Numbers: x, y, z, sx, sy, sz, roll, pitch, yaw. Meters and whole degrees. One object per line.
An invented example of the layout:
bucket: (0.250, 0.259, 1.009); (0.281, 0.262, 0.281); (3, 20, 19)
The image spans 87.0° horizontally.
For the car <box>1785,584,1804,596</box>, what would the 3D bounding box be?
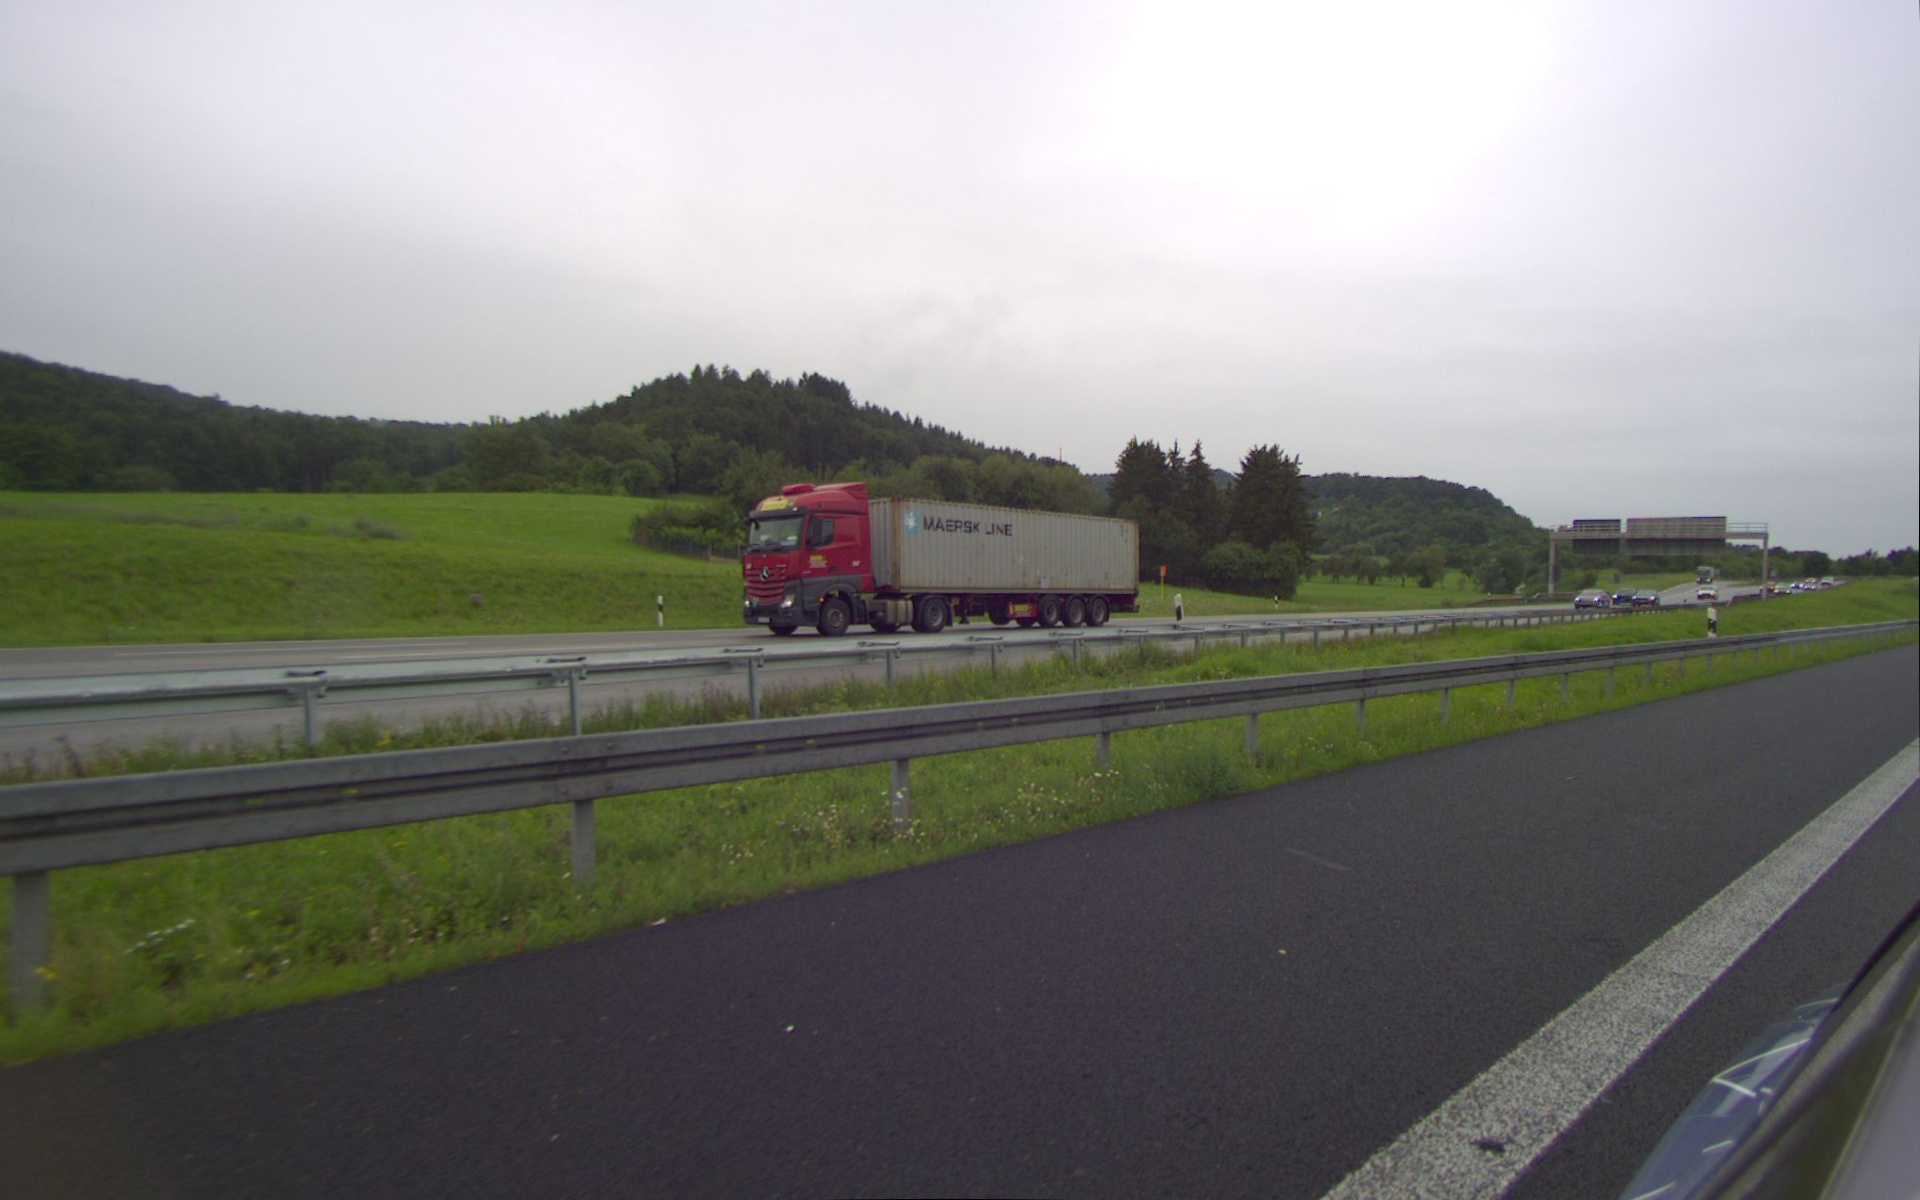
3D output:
car: (137.567, -1.664, 166.815); (3.931, 2.039, 1.732); (0, 0, -42)

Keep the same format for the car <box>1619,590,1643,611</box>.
car: (69.659, 0.018, 105.019); (1.646, 2.039, 3.944); (1, 1, 39)

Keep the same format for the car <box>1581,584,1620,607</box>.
car: (51.037, -0.393, 80.577); (1.992, 1.742, 4.255); (2, 1, 41)

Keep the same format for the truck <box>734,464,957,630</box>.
truck: (-2.990, -1.316, 27.669); (2.507, 4.037, 5.836); (-1, 0, 43)

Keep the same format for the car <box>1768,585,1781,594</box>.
car: (144.041, -1.829, 179.024); (1.579, 1.571, 3.939); (-1, 0, 42)

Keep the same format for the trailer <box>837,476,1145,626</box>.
trailer: (1.550, -1.361, 32.562); (2.490, 4.034, 12.212); (-1, 0, 43)

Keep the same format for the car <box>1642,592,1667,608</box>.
car: (66.585, -0.029, 96.980); (1.743, 1.527, 3.944); (0, 0, 38)

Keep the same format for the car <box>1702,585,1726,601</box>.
car: (99.723, -0.964, 133.829); (1.994, 2.039, 3.936); (2, 1, 44)
